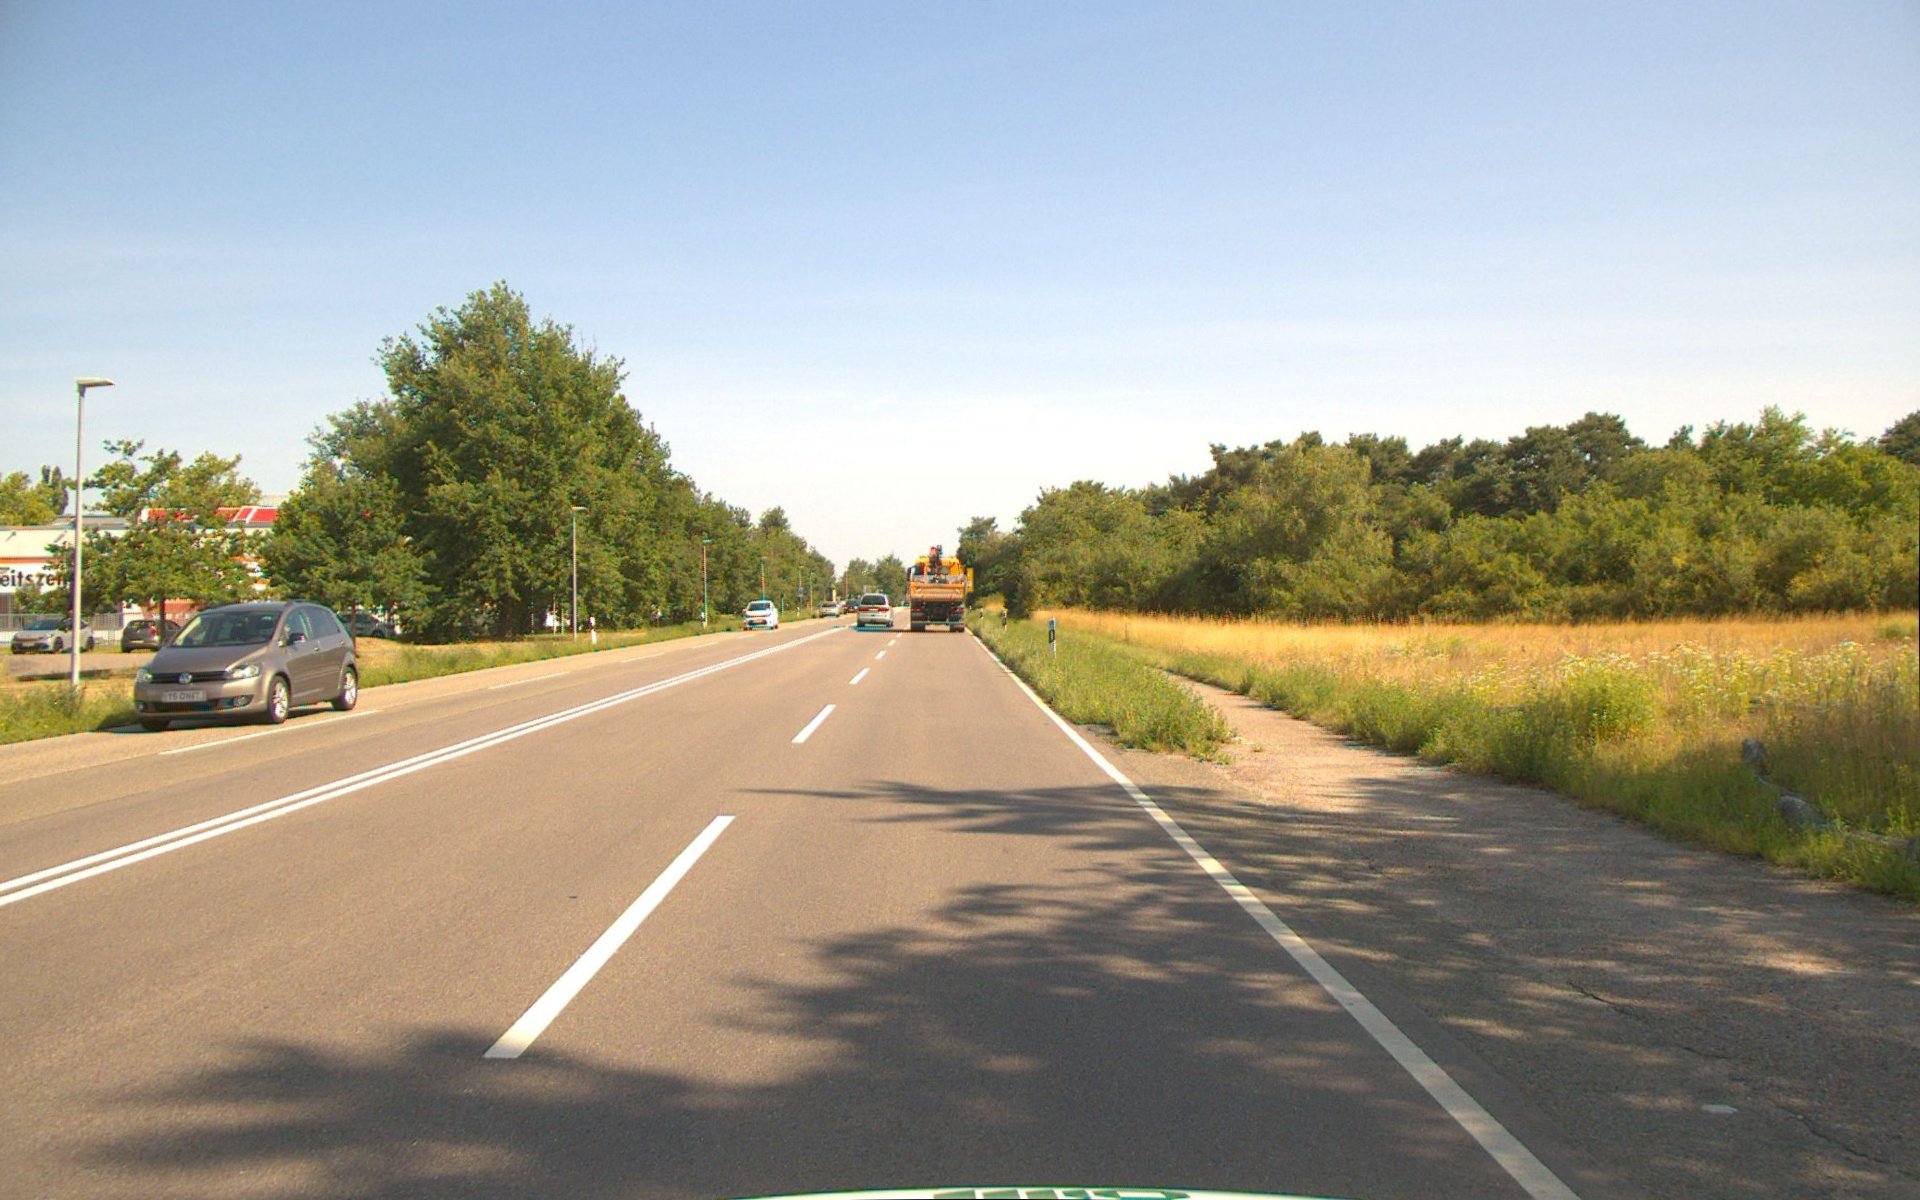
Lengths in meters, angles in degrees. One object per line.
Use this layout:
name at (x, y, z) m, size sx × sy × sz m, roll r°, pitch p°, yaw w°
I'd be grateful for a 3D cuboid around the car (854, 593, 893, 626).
car at (-4.437, 0.467, 85.231) m, size 1.954 × 1.611 × 3.998 m, roll -1°, pitch 0°, yaw -3°

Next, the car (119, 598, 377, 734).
car at (-9.526, 0.805, 22.503) m, size 1.694 × 1.588 × 4.214 m, roll -3°, pitch 0°, yaw -1°

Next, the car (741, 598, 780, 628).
car at (-10.477, 0.659, 86.936) m, size 1.626 × 1.462 × 3.734 m, roll -3°, pitch 0°, yaw -1°

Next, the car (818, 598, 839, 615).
car at (-11.871, 0.586, 149.700) m, size 1.566 × 1.467 × 3.999 m, roll -3°, pitch 0°, yaw -1°

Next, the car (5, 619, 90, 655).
car at (-38.816, 1.557, 70.435) m, size 1.603 × 1.435 × 3.721 m, roll -1°, pitch 0°, yaw -2°

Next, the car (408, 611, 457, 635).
car at (-32.354, 1.381, 101.523) m, size 1.752 × 1.373 × 4.660 m, roll -2°, pitch 0°, yaw -3°

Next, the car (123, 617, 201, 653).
car at (-34.137, 1.487, 70.818) m, size 1.603 × 1.414 × 3.721 m, roll -1°, pitch 0°, yaw -2°

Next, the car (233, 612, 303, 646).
car at (-32.778, 1.375, 78.337) m, size 1.727 × 1.527 × 3.935 m, roll -1°, pitch 0°, yaw -44°

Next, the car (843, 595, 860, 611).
car at (-12.601, 0.352, 192.148) m, size 1.789 × 1.701 × 4.388 m, roll -3°, pitch 0°, yaw -2°

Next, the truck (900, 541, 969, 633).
truck at (-1.242, -0.574, 75.668) m, size 2.815 × 3.948 × 7.395 m, roll 1°, pitch 0°, yaw -3°
